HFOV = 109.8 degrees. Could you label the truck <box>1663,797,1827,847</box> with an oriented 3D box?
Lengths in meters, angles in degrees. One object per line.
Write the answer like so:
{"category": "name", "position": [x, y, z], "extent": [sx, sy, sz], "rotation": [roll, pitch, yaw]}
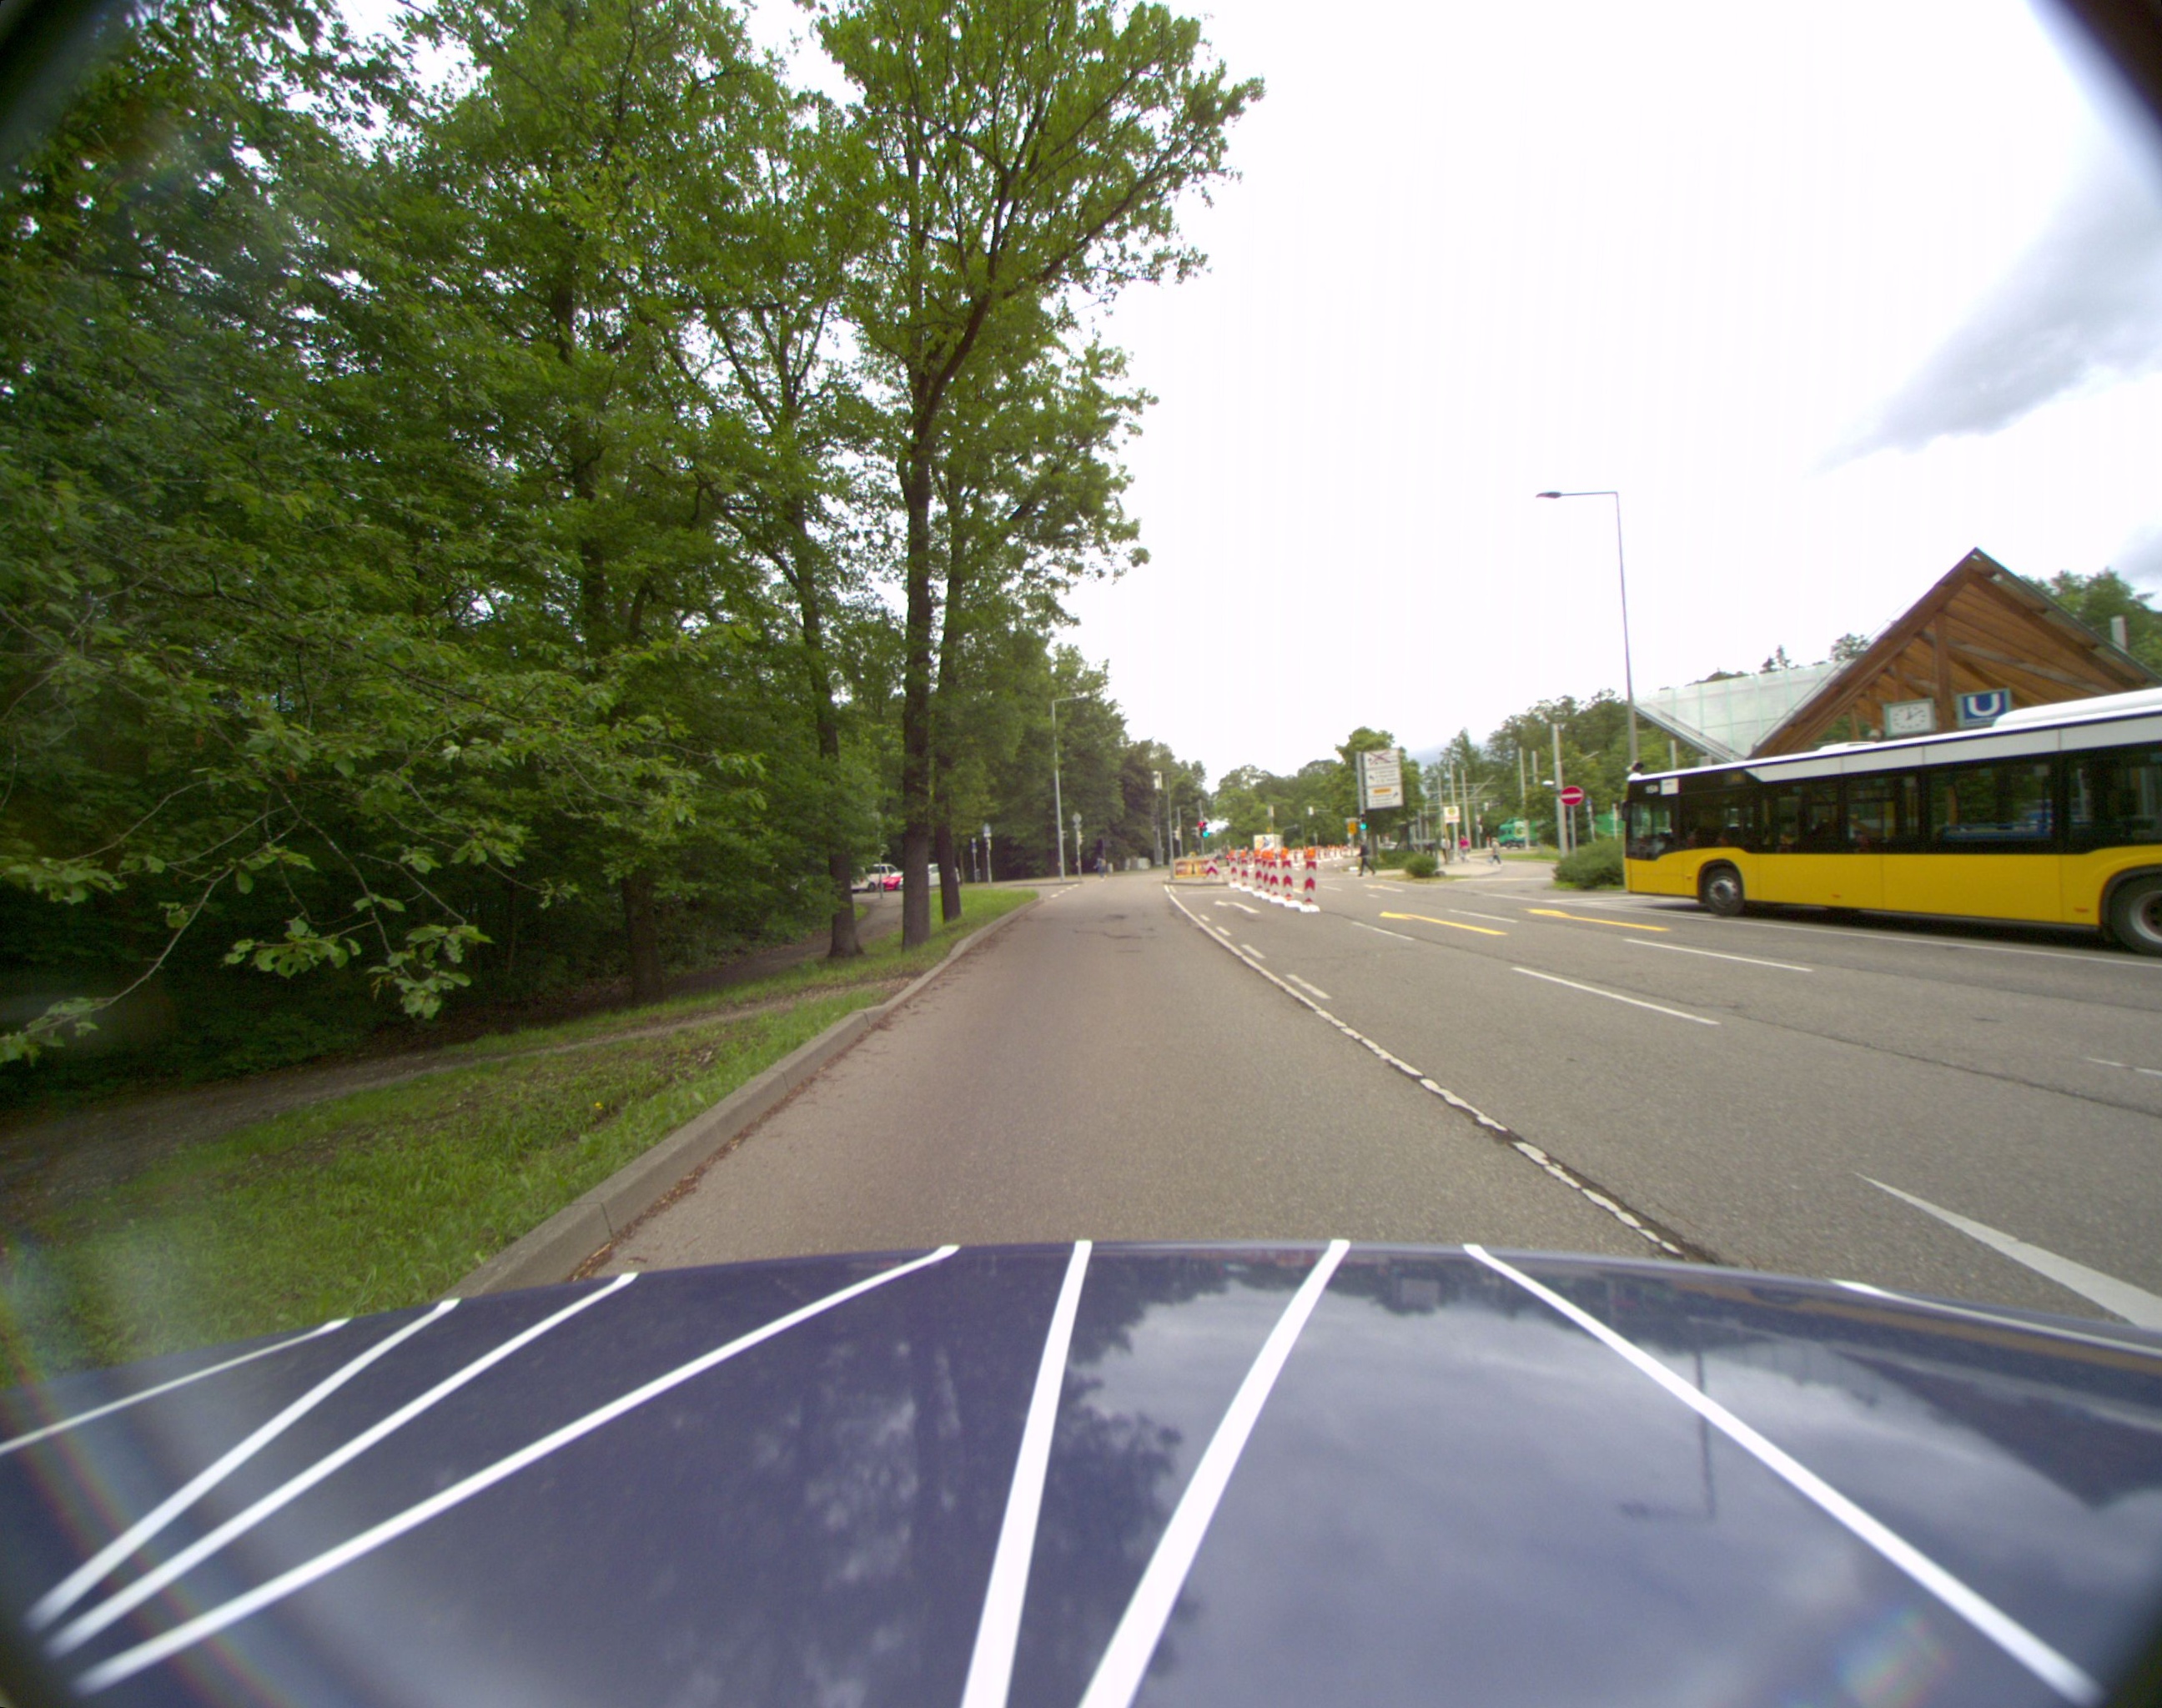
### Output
{"category": "truck", "position": [36.357, -1.656, 41.920], "extent": [2.609, 2.157, 6.295], "rotation": [-4, -1, -17]}

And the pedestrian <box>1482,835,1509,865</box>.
{"category": "pedestrian", "position": [22.235, -0.222, 40.763], "extent": [0.769, 1.516, 0.874], "rotation": [-4, 0, -27]}

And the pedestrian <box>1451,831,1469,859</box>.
{"category": "pedestrian", "position": [23.363, -0.556, 46.834], "extent": [0.684, 1.655, 0.871], "rotation": [-4, 0, 15]}

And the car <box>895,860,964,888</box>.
{"category": "car", "position": [-10.319, 1.370, 52.055], "extent": [1.995, 1.543, 4.429], "rotation": [-5, -1, 35]}

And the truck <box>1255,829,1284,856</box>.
{"category": "truck", "position": [23.087, -1.402, 92.910], "extent": [2.631, 3.219, 6.215], "rotation": [-1, 1, 21]}

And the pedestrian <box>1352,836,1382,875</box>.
{"category": "pedestrian", "position": [13.844, 0.079, 36.828], "extent": [0.767, 1.798, 0.992], "rotation": [-4, 0, -41]}

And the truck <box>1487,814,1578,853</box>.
{"category": "truck", "position": [53.495, -2.373, 90.384], "extent": [3.791, 3.858, 8.759], "rotation": [-4, -1, -20]}

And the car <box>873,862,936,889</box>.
{"category": "car", "position": [-12.373, 1.500, 53.526], "extent": [1.890, 1.543, 4.007], "rotation": [-5, -1, 35]}

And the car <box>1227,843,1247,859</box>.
{"category": "car", "position": [15.700, -0.310, 76.552], "extent": [1.811, 1.500, 4.311], "rotation": [-2, 1, 13]}

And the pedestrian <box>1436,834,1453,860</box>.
{"category": "pedestrian", "position": [22.506, -0.463, 47.055], "extent": [0.775, 1.537, 0.629], "rotation": [-4, 1, 14]}

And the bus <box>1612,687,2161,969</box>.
{"category": "bus", "position": [13.395, -0.354, 12.204], "extent": [2.906, 3.109, 9.759], "rotation": [-2, 0, 1]}

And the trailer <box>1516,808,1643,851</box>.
{"category": "trailer", "position": [55.433, -2.577, 85.111], "extent": [3.791, 3.858, 11.852], "rotation": [-4, -1, -20]}

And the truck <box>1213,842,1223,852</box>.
{"category": "truck", "position": [45.337, -2.285, 251.161], "extent": [2.744, 3.192, 6.679], "rotation": [-4, 0, 12]}

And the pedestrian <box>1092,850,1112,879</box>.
{"category": "pedestrian", "position": [1.244, 0.602, 45.259], "extent": [1.093, 1.666, 0.911], "rotation": [-3, 1, 4]}

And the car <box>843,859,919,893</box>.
{"category": "car", "position": [-14.381, 1.582, 55.065], "extent": [2.058, 1.946, 5.191], "rotation": [-5, 1, 31]}

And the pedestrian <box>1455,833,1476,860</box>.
{"category": "pedestrian", "position": [22.873, -0.439, 45.208], "extent": [0.791, 1.542, 0.776], "rotation": [-4, 0, 12]}
